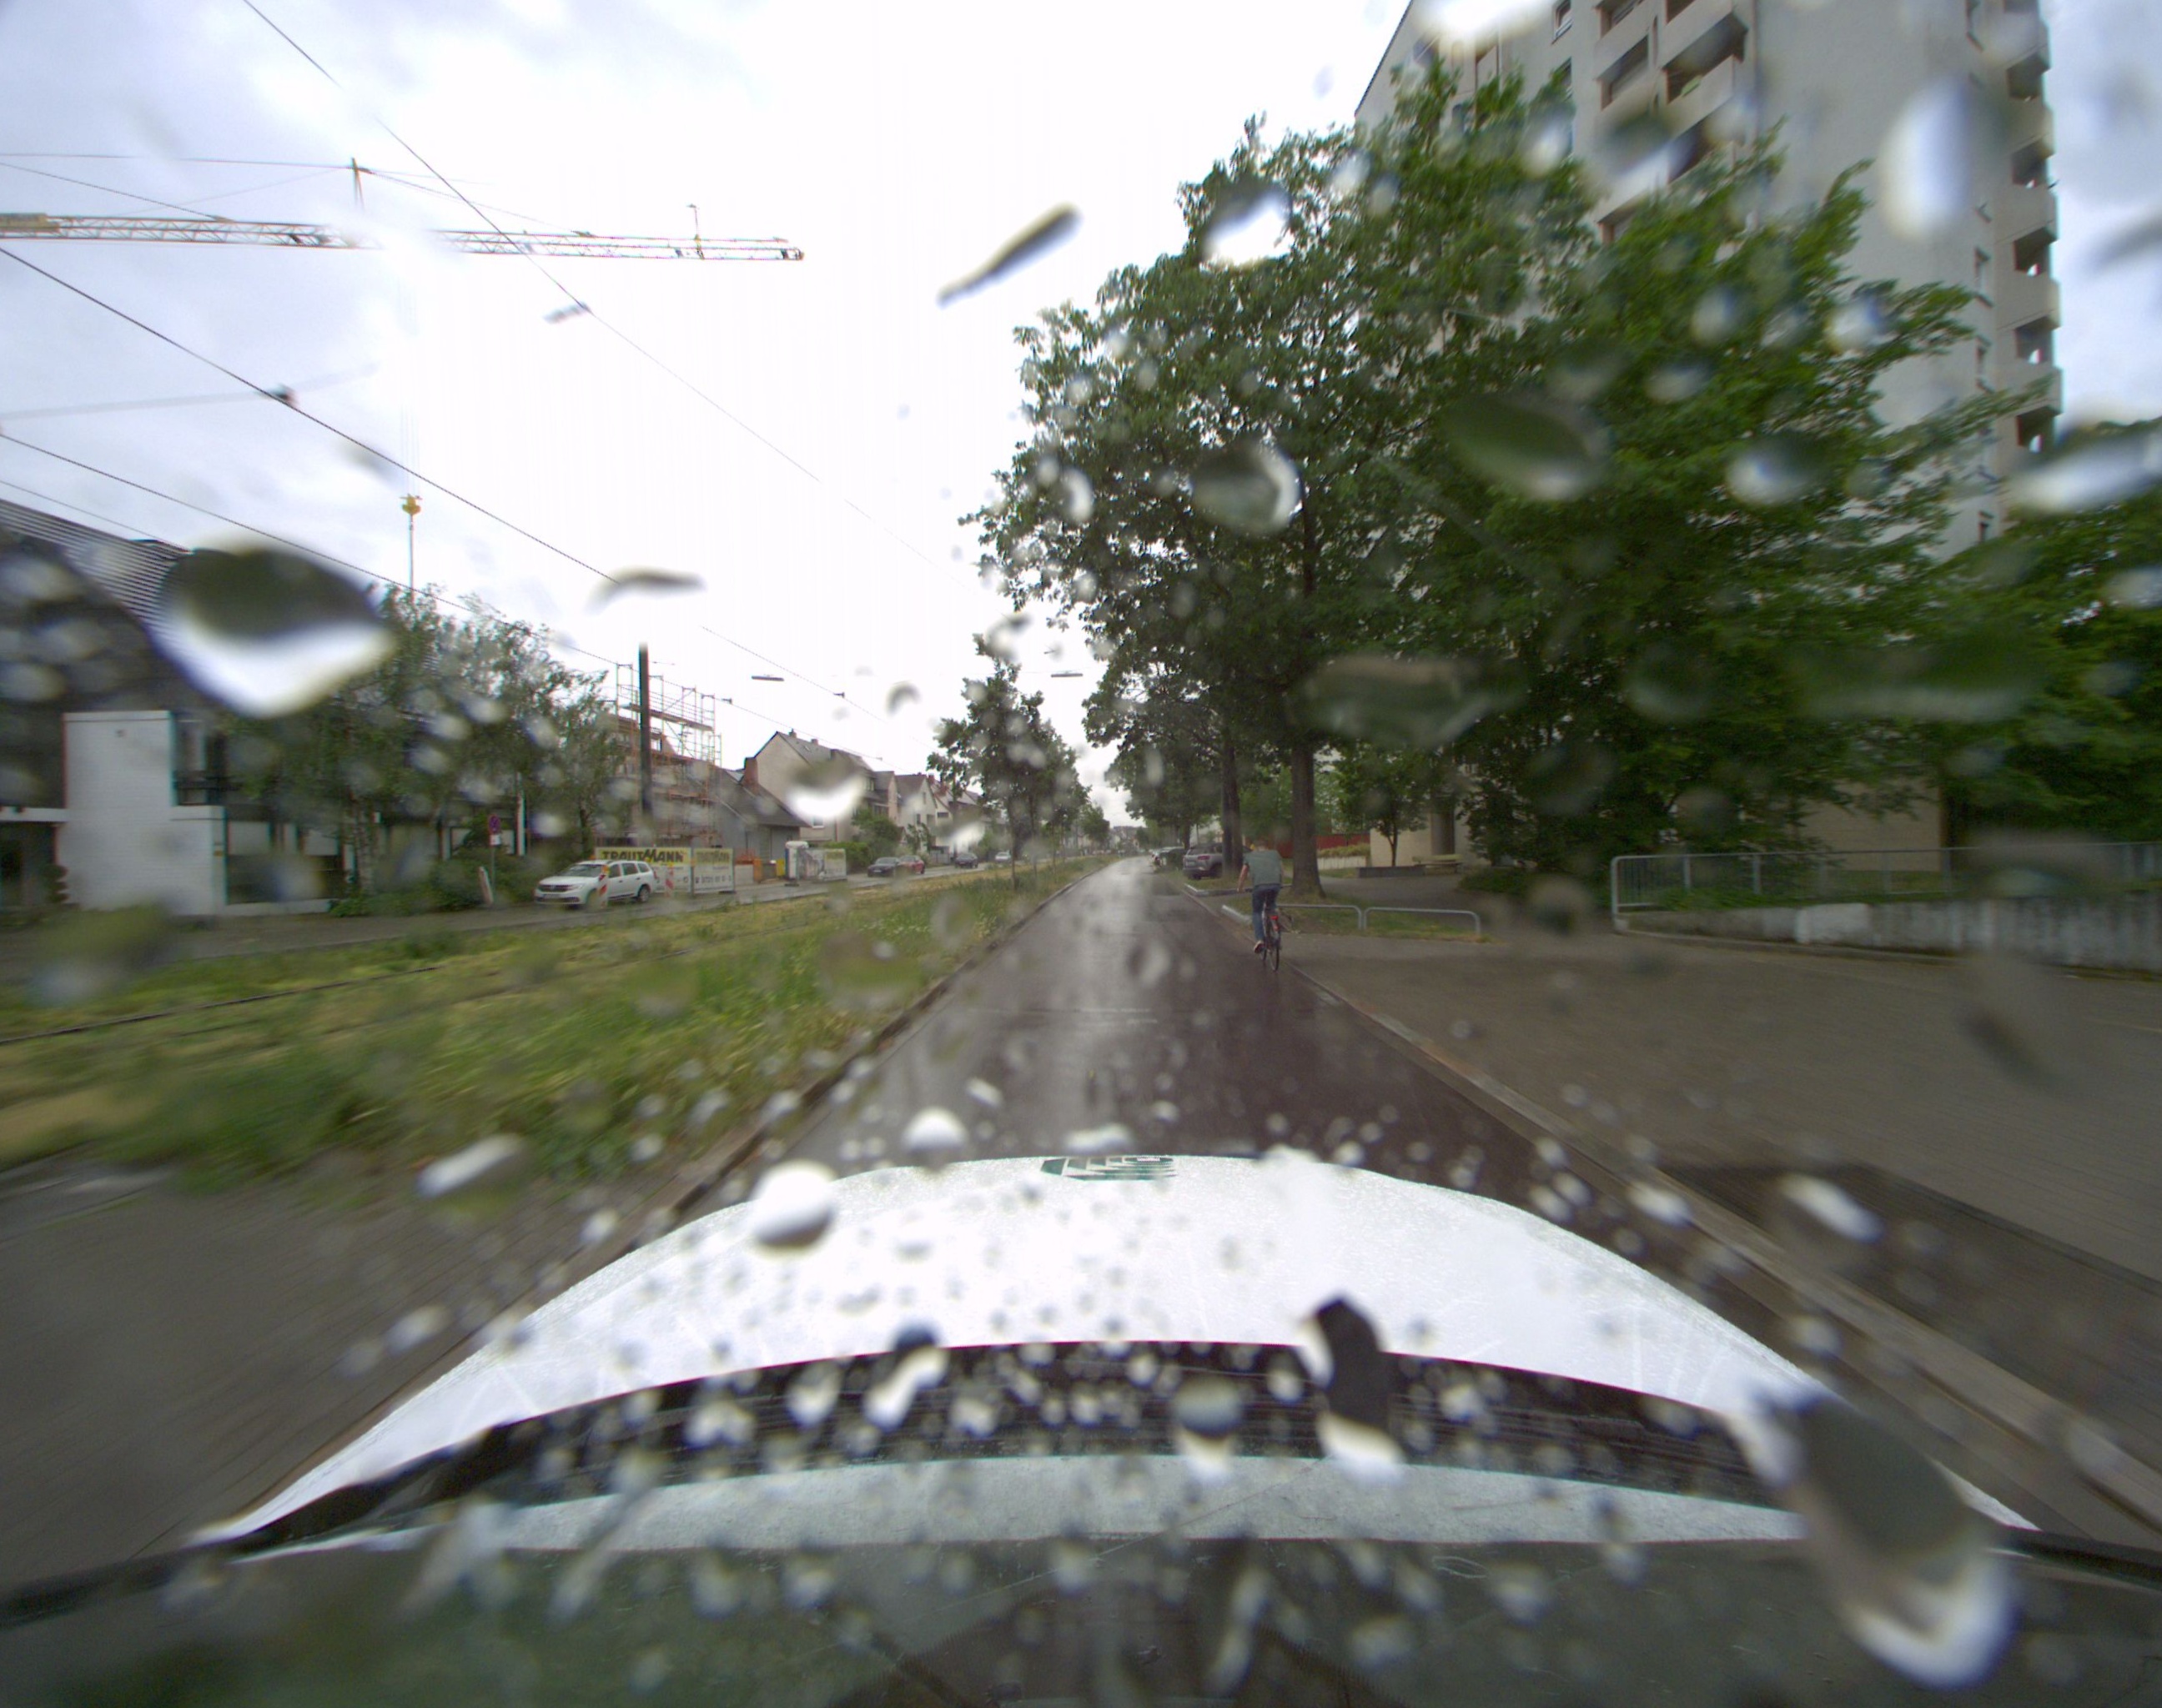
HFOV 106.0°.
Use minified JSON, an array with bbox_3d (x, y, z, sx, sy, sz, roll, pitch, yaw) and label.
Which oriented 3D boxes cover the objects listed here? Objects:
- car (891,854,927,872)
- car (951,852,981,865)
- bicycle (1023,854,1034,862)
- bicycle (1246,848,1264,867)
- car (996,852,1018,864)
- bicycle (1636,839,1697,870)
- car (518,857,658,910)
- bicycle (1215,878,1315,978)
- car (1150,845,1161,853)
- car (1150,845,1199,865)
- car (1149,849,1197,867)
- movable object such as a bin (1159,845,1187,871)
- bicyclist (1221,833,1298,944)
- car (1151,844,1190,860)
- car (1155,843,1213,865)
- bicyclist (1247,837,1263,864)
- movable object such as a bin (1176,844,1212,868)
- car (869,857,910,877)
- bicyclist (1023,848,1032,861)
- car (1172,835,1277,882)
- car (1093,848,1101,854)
[{"bbox_3d":[-13.002,0.678,61.735,1.667,1.244,3.859,1,1,4],"label":"car"},{"bbox_3d":[-11.564,0.469,82.432,1.887,1.244,4.696,1,1,6],"label":"car"},{"bbox_3d":[-7.115,0.508,110.439,1.014,1.027,3.200,-2,0,3],"label":"bicycle"},{"bbox_3d":[10.468,0.205,49.012,0.731,1.056,2.052,-1,0,3],"label":"bicycle"},{"bbox_3d":[-9.485,0.467,104.688,1.887,1.469,4.696,1,1,6],"label":"car"},{"bbox_3d":[17.972,0.026,25.017,0.410,0.925,1.450,-2,0,-34],"label":"bicycle"},{"bbox_3d":[-16.250,0.903,27.151,1.702,1.542,4.427,1,1,4],"label":"car"},{"bbox_3d":[2.441,0.937,11.170,0.807,1.096,2.517,-2,0,1],"label":"bicycle"},{"bbox_3d":[14.309,-0.943,156.648,1.825,1.586,4.004,-2,0,4],"label":"car"},{"bbox_3d":[7.498,0.058,65.317,4.062,1.443,1.566,-2,1,-41],"label":"car"},{"bbox_3d":[7.867,0.326,69.515,4.057,1.443,1.569,-2,0,-34],"label":"car"},{"bbox_3d":[5.592,0.238,49.581,1.128,1.457,1.392,-7,2,-18],"label":"movable object such as a bin"},{"bbox_3d":[2.431,0.452,11.212,0.807,1.432,1.060,-2,0,1],"label":"bicyclist"},{"bbox_3d":[9.551,-0.222,86.604,4.057,1.513,1.569,-2,0,-34],"label":"car"},{"bbox_3d":[7.570,0.001,59.668,4.054,1.519,1.570,-2,0,-31],"label":"car"},{"bbox_3d":[10.459,-0.235,48.939,0.732,1.594,0.945,-2,0,3],"label":"bicyclist"},{"bbox_3d":[6.918,0.125,49.772,1.686,1.326,1.392,-4,1,-18],"label":"movable object such as a bin"},{"bbox_3d":[-13.267,0.887,56.552,1.656,1.244,4.076,1,1,4],"label":"car"},{"bbox_3d":[-7.179,0.084,109.729,1.014,1.685,1.093,-2,0,3],"label":"bicyclist"},{"bbox_3d":[6.317,0.167,35.767,4.160,1.719,1.981,-5,2,-29],"label":"car"},{"bbox_3d":[4.451,-0.855,223.084,1.835,1.672,4.004,-2,0,4],"label":"car"}]
